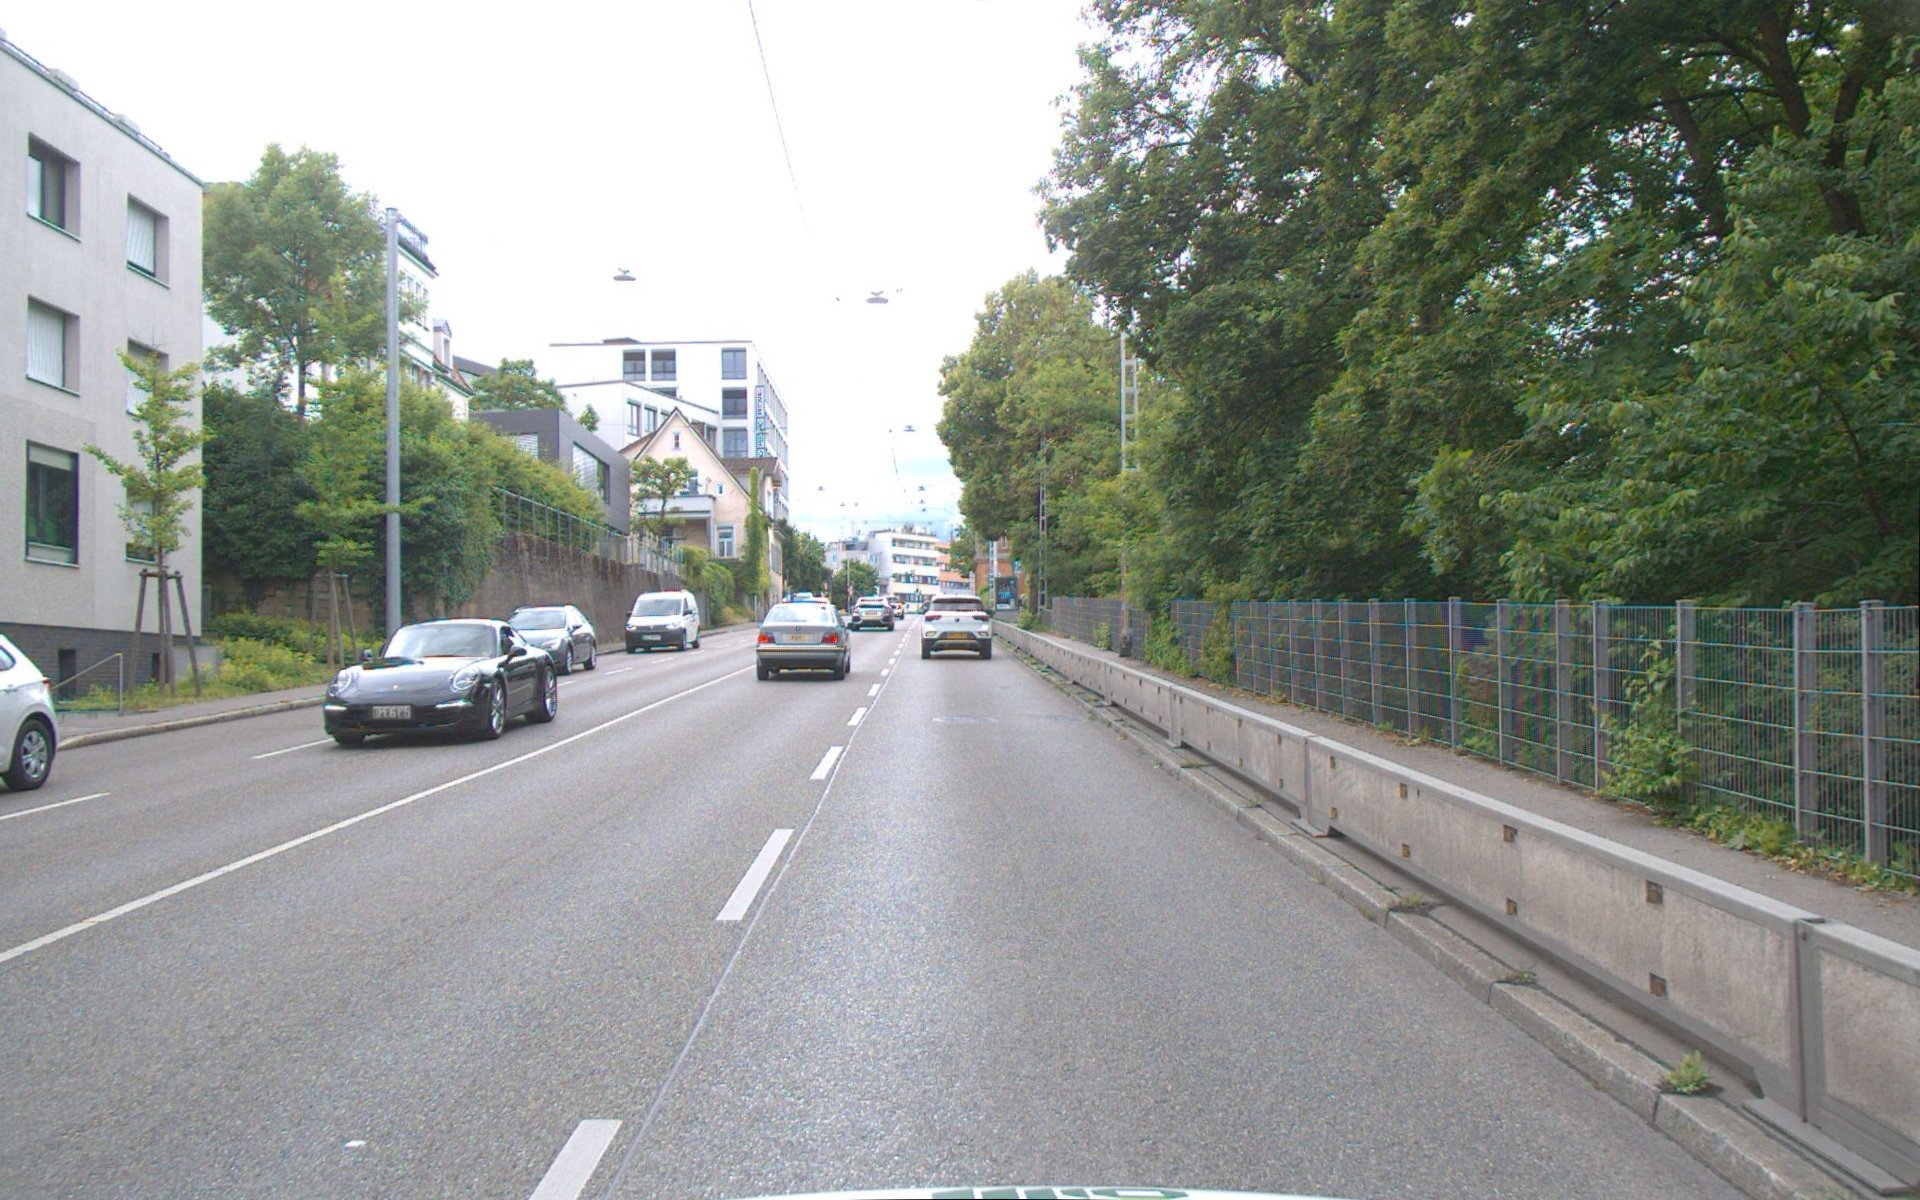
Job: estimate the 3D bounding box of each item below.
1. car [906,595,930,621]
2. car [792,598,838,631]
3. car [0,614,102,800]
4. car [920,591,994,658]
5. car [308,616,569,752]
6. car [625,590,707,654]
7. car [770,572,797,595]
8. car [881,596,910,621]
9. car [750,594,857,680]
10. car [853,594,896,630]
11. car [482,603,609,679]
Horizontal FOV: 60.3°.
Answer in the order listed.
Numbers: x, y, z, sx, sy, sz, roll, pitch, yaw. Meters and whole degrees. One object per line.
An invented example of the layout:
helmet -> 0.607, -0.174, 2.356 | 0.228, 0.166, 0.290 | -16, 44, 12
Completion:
car -> -2.946, 0.562, 115.887 | 1.623, 1.796, 3.286 | 0, 0, -1
car -> -6.850, 0.666, 78.592 | 1.779, 1.410, 4.461 | -3, 0, -1
car -> -8.659, 0.906, 12.923 | 1.737, 1.489, 4.190 | -2, 0, -1
car -> -0.120, 0.583, 41.816 | 1.744, 1.607, 3.998 | 0, 0, -2
car -> -5.874, 0.888, 19.145 | 1.718, 1.291, 4.190 | -2, 0, -1
car -> -9.132, 0.647, 51.715 | 1.697, 1.819, 4.866 | -2, 0, -1
car -> -13.805, -1.246, 129.268 | 1.955, 1.731, 3.996 | -1, 0, -5
car -> -3.954, 0.502, 101.758 | 1.672, 1.489, 3.999 | -1, 0, -1
car -> -2.866, 0.641, 31.014 | 1.672, 1.489, 3.999 | -1, 0, -1
car -> -3.669, 0.479, 71.283 | 1.672, 1.489, 3.999 | -1, 0, -1
car -> -9.000, 0.849, 36.257 | 1.697, 1.489, 4.423 | -2, 0, -1
